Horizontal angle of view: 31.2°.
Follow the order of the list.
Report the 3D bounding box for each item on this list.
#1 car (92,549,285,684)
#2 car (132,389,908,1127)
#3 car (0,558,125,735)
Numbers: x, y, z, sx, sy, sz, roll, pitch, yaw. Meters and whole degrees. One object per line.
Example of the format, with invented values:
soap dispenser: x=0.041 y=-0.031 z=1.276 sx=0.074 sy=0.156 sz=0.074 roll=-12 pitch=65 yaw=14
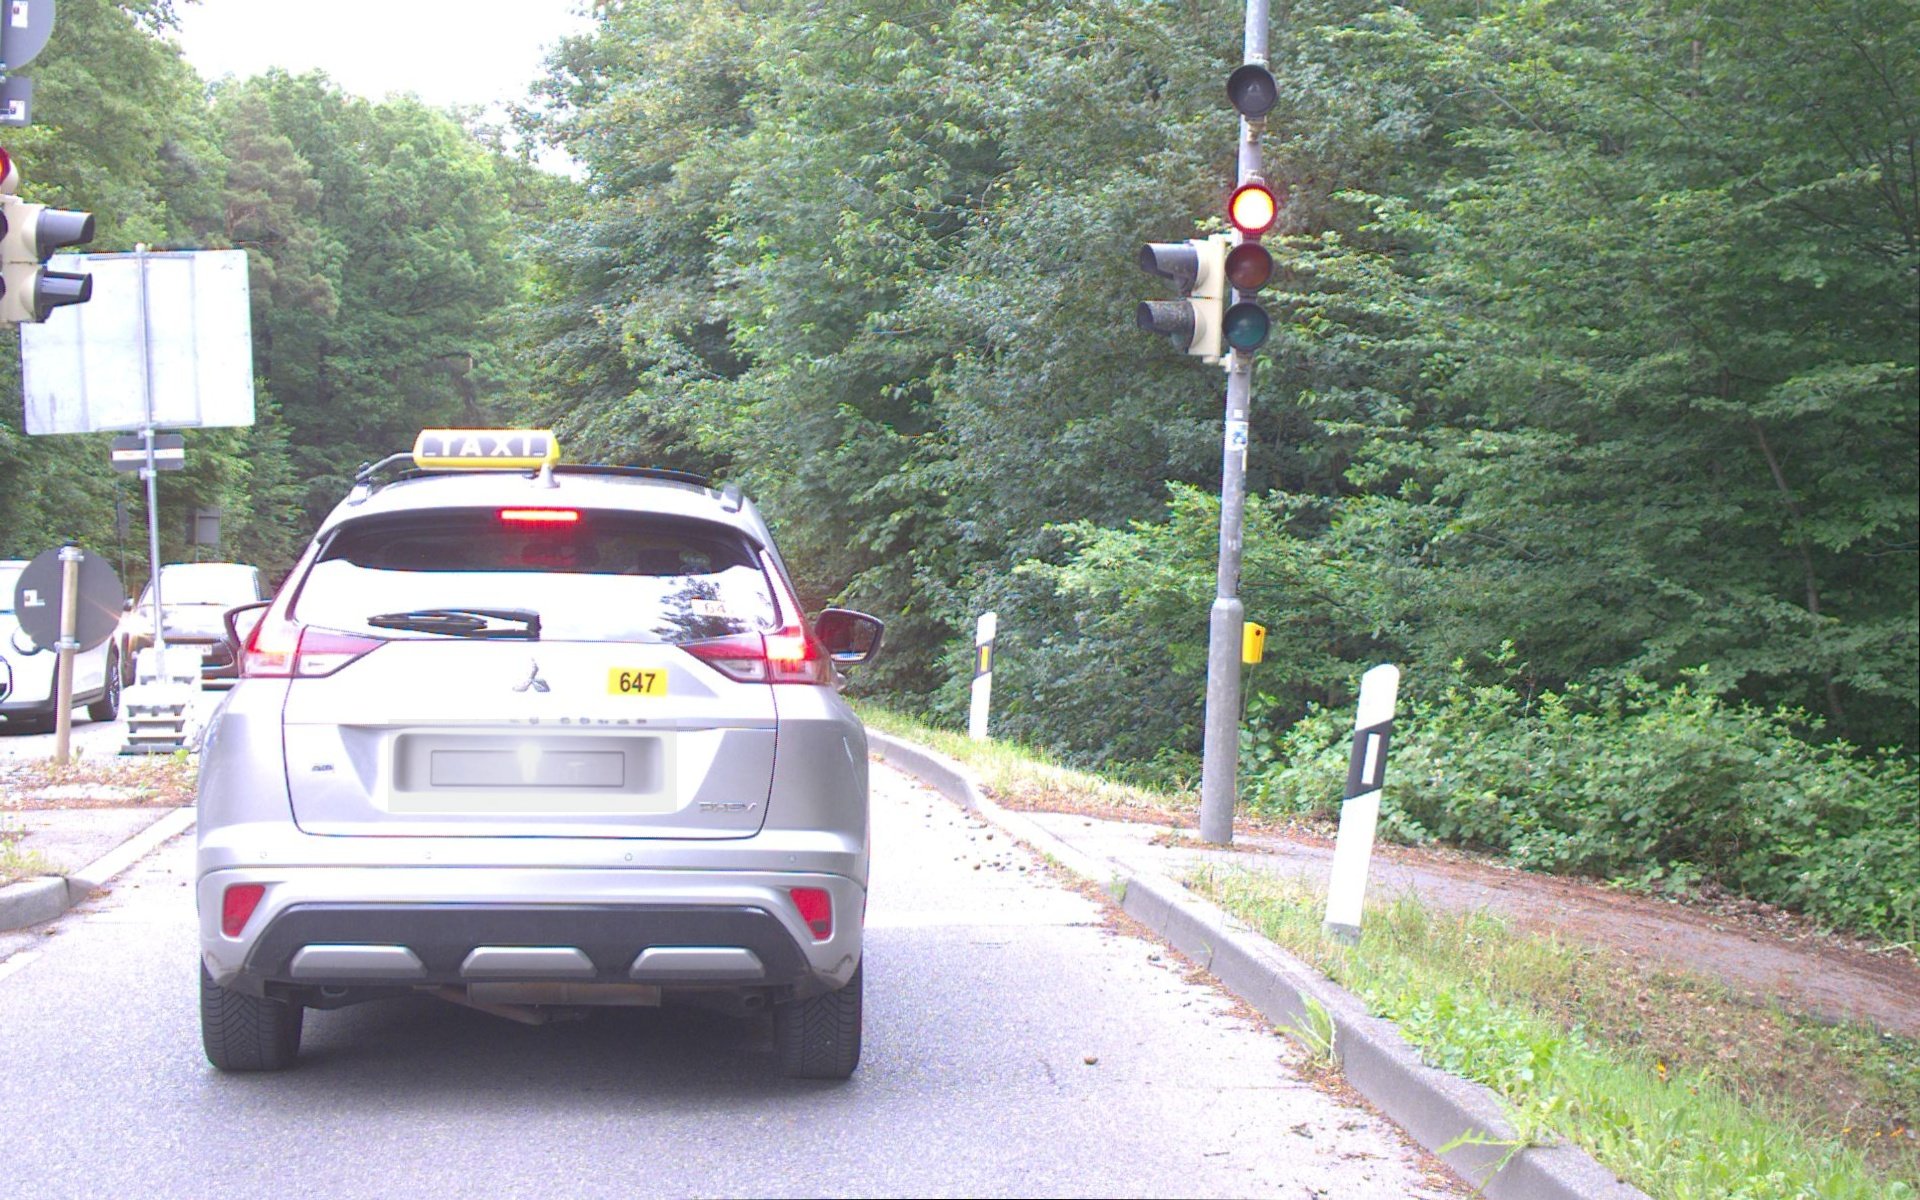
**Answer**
car: x=-9.202 y=0.175 z=41.248 sx=1.811 sy=1.503 sz=3.722 roll=-2 pitch=1 yaw=-6
car: x=-1.273 y=0.350 z=10.479 sx=1.846 sy=1.774 sz=4.001 roll=2 pitch=1 yaw=-6
car: x=-8.156 y=0.358 z=28.710 sx=1.612 sy=1.317 sz=3.722 roll=-1 pitch=2 yaw=-3
